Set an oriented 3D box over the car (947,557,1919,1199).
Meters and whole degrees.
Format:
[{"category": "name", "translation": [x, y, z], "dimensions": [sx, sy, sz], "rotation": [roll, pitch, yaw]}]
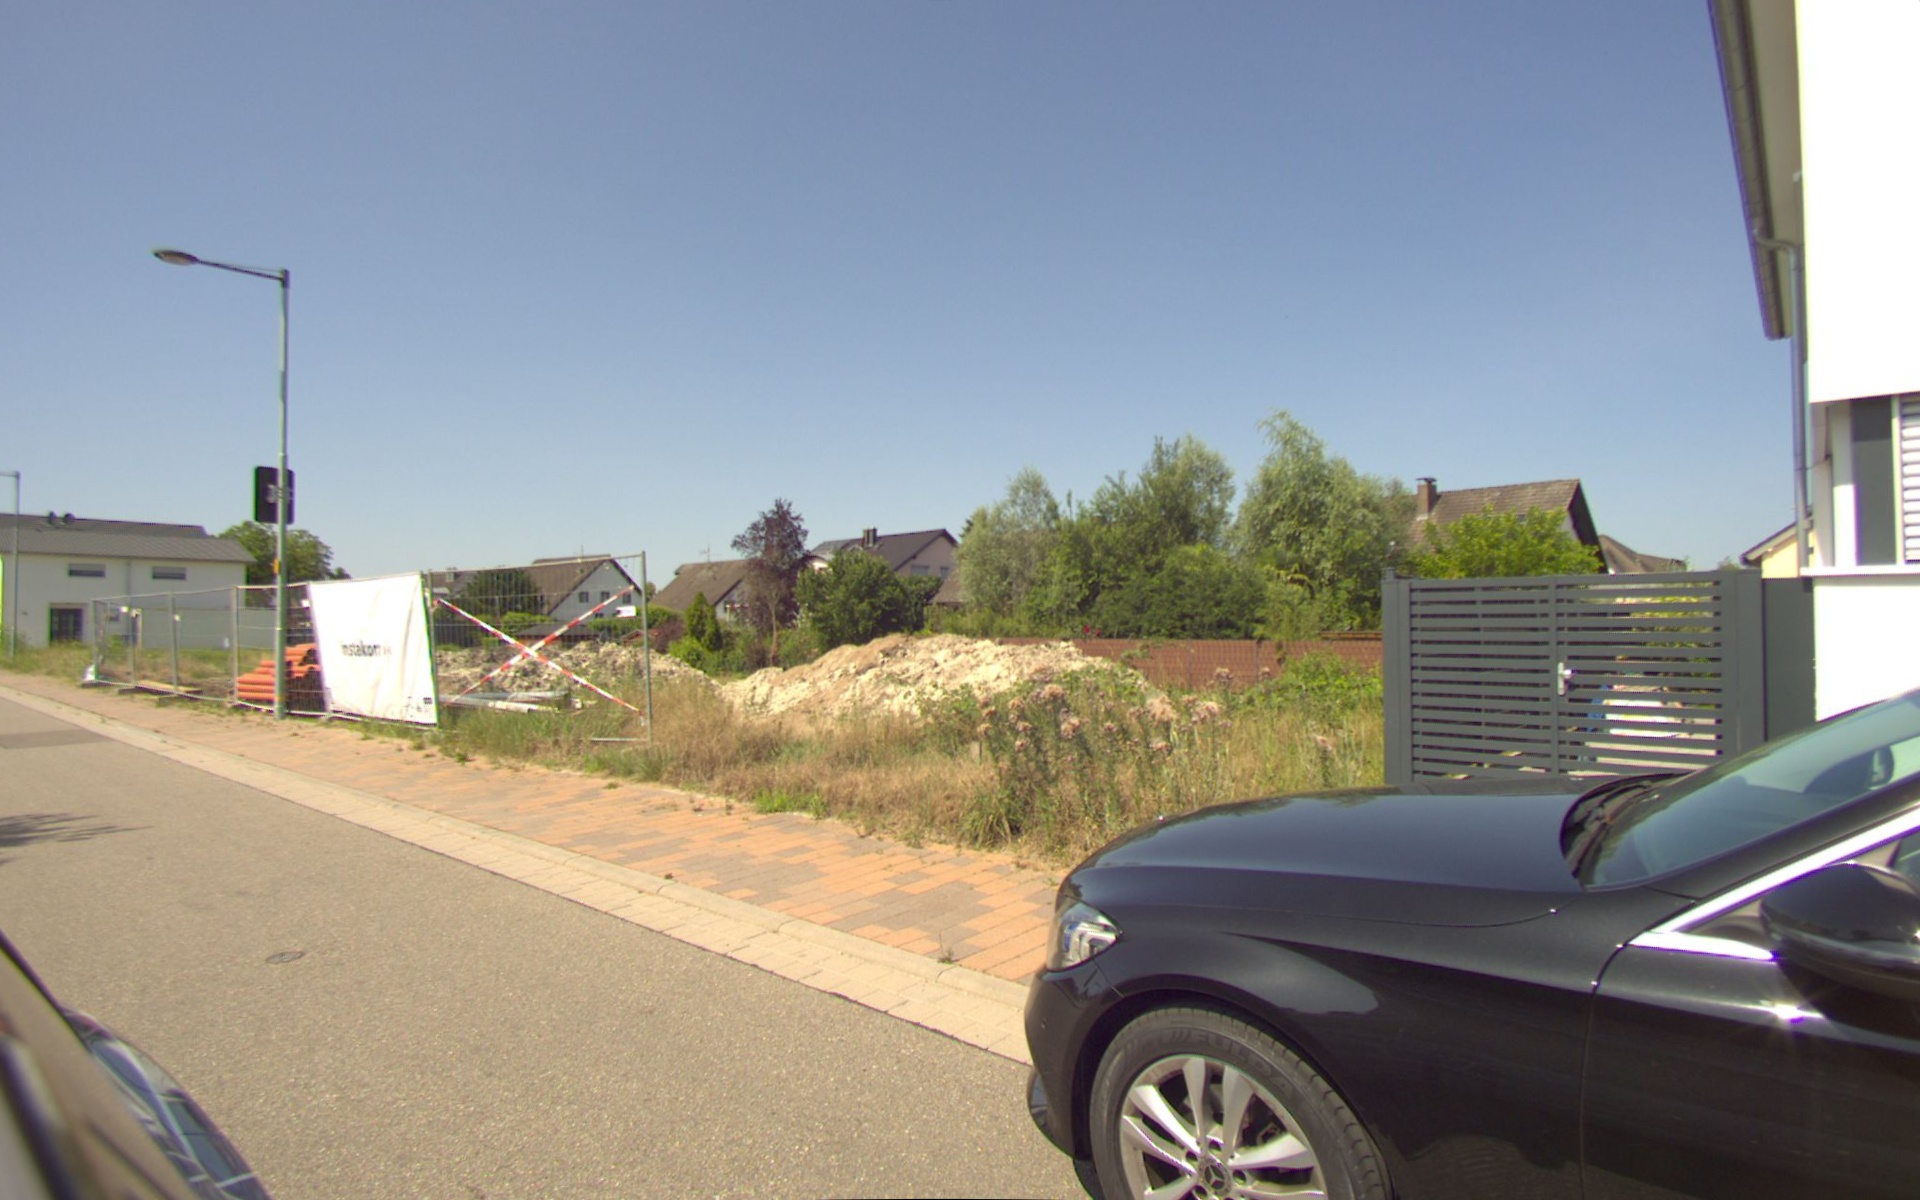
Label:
[{"category": "car", "translation": [2.204, 0.650, 1.570], "dimensions": [4.442, 1.484, 1.673], "rotation": [-2, 0, 41]}]
